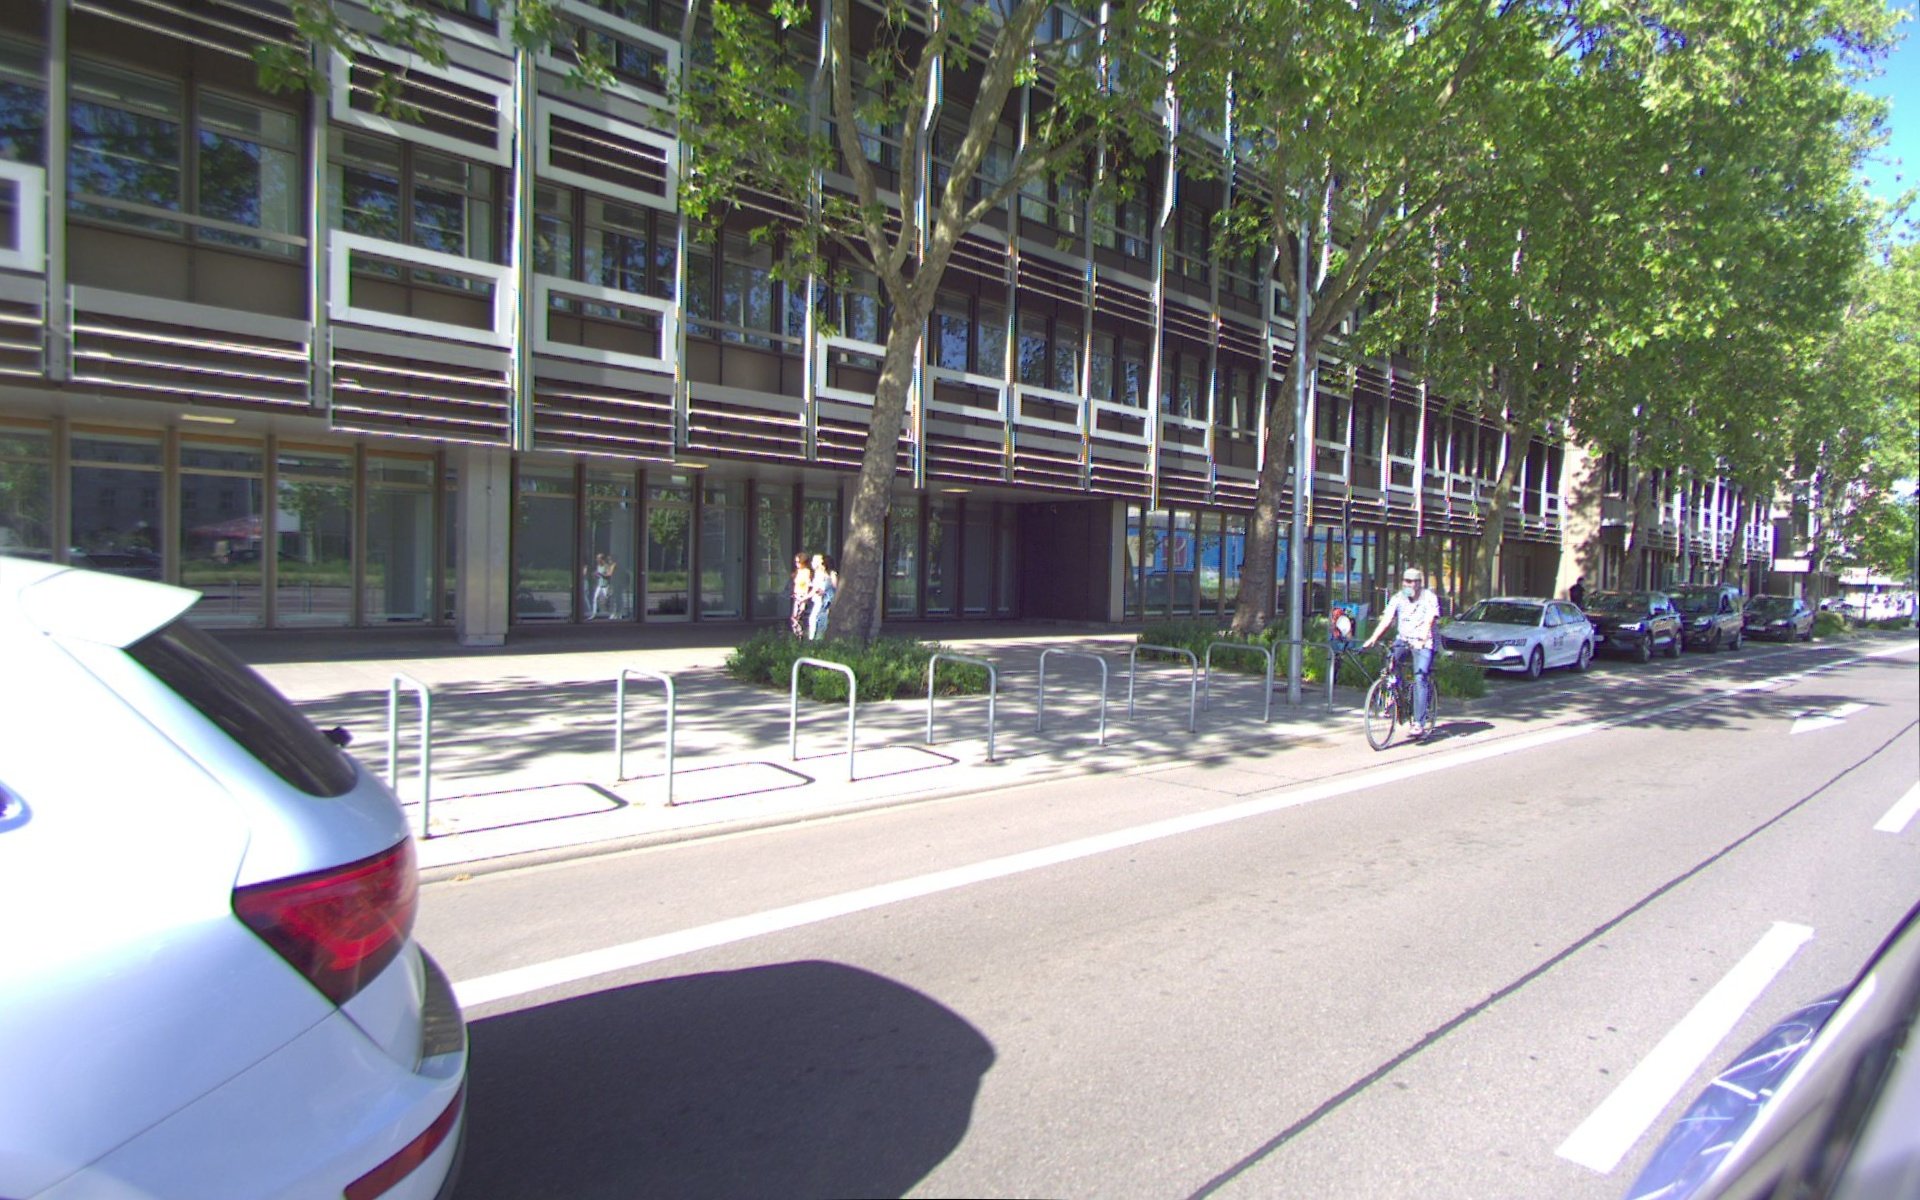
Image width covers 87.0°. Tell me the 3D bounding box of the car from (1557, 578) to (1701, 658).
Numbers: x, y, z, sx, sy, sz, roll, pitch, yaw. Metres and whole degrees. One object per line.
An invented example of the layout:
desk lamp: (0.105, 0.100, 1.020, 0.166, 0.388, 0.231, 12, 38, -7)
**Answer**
car: (15.943, 0.378, 24.050, 4.262, 1.653, 1.751, 0, 3, -41)

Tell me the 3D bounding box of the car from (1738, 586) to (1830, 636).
car: (28.661, 0.358, 35.141, 4.262, 1.573, 1.751, 0, 3, -41)

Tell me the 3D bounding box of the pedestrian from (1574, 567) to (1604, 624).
pedestrian: (22.998, -0.172, 37.004, 0.615, 2.039, 0.740, 1, 1, -42)

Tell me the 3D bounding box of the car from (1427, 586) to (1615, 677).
car: (11.003, 0.543, 19.722, 4.481, 1.508, 1.751, 0, 3, -41)

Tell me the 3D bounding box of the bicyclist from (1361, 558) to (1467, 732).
bicyclist: (4.693, 0.443, 10.459, 0.838, 1.709, 0.710, 1, -1, -42)

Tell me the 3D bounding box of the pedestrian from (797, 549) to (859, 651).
pedestrian: (-2.178, -0.010, 16.655, 0.715, 1.620, 0.668, 1, 3, -40)

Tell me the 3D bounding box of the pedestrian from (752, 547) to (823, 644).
pedestrian: (-3.035, -0.087, 17.816, 0.991, 1.620, 0.668, 0, 3, -40)

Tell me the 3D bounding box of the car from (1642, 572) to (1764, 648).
car: (20.331, 0.234, 27.638, 4.262, 1.843, 1.751, 0, 3, -41)

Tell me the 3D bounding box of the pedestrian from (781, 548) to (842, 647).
pedestrian: (-2.535, -0.060, 17.282, 0.715, 1.620, 0.667, 0, 4, -43)

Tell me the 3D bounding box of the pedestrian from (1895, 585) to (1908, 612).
pedestrian: (66.961, -0.125, 71.946, 0.559, 1.863, 0.591, 1, 1, -41)

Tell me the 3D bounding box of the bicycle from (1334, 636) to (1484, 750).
bicycle: (4.641, 0.904, 10.400, 1.891, 1.006, 0.710, 0, -1, -43)

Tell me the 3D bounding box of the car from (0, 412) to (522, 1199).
car: (-2.917, 0.570, 0.858, 4.334, 1.633, 1.823, 0, 1, -40)

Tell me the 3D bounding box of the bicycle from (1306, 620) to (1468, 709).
bicycle: (5.701, 0.827, 13.602, 0.700, 0.972, 1.845, 0, 3, -45)

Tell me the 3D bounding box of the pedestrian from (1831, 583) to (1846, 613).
pedestrian: (54.544, -0.139, 62.847, 0.685, 1.863, 0.591, 1, 1, -42)

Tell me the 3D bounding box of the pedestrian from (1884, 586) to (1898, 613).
pedestrian: (63.494, -0.039, 69.001, 0.684, 1.863, 0.591, 1, 1, -41)
